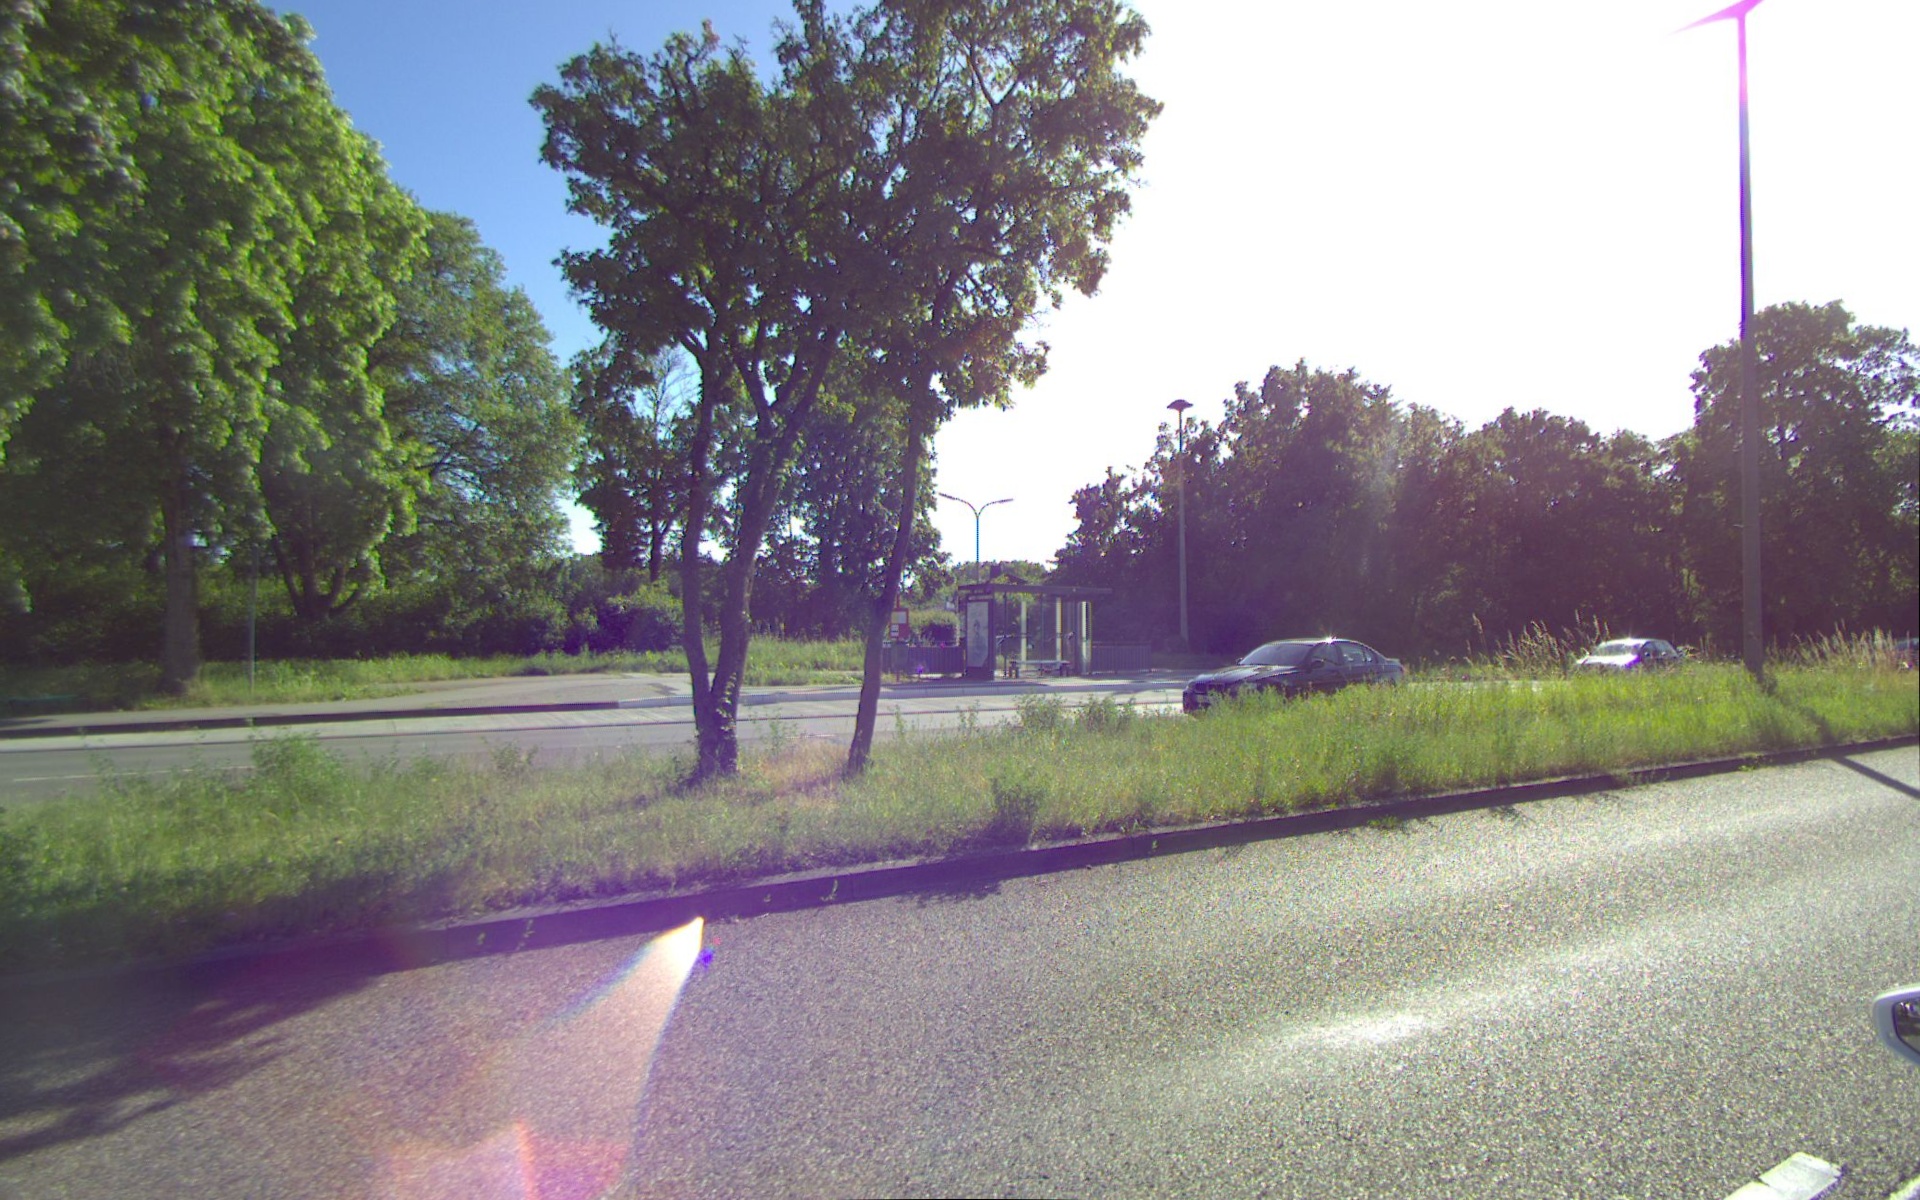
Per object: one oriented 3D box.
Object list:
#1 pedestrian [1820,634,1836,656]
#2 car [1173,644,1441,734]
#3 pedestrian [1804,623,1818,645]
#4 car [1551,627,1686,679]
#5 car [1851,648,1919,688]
[{"bbox_3d":[57.610,2.974,66.694,0.907,1.479,0.542,1,-2,-31],"label":"pedestrian"},{"bbox_3d":[6.193,1.489,17.726,4.923,1.378,1.773,1,-4,-32],"label":"car"},{"bbox_3d":[57.233,2.298,67.535,0.589,1.479,0.542,2,1,-31],"label":"pedestrian"},{"bbox_3d":[20.685,1.626,31.507,4.544,1.520,1.796,1,-2,-32],"label":"car"},{"bbox_3d":[39.379,2.868,42.392,3.956,1.583,1.596,1,-4,-33],"label":"car"}]
